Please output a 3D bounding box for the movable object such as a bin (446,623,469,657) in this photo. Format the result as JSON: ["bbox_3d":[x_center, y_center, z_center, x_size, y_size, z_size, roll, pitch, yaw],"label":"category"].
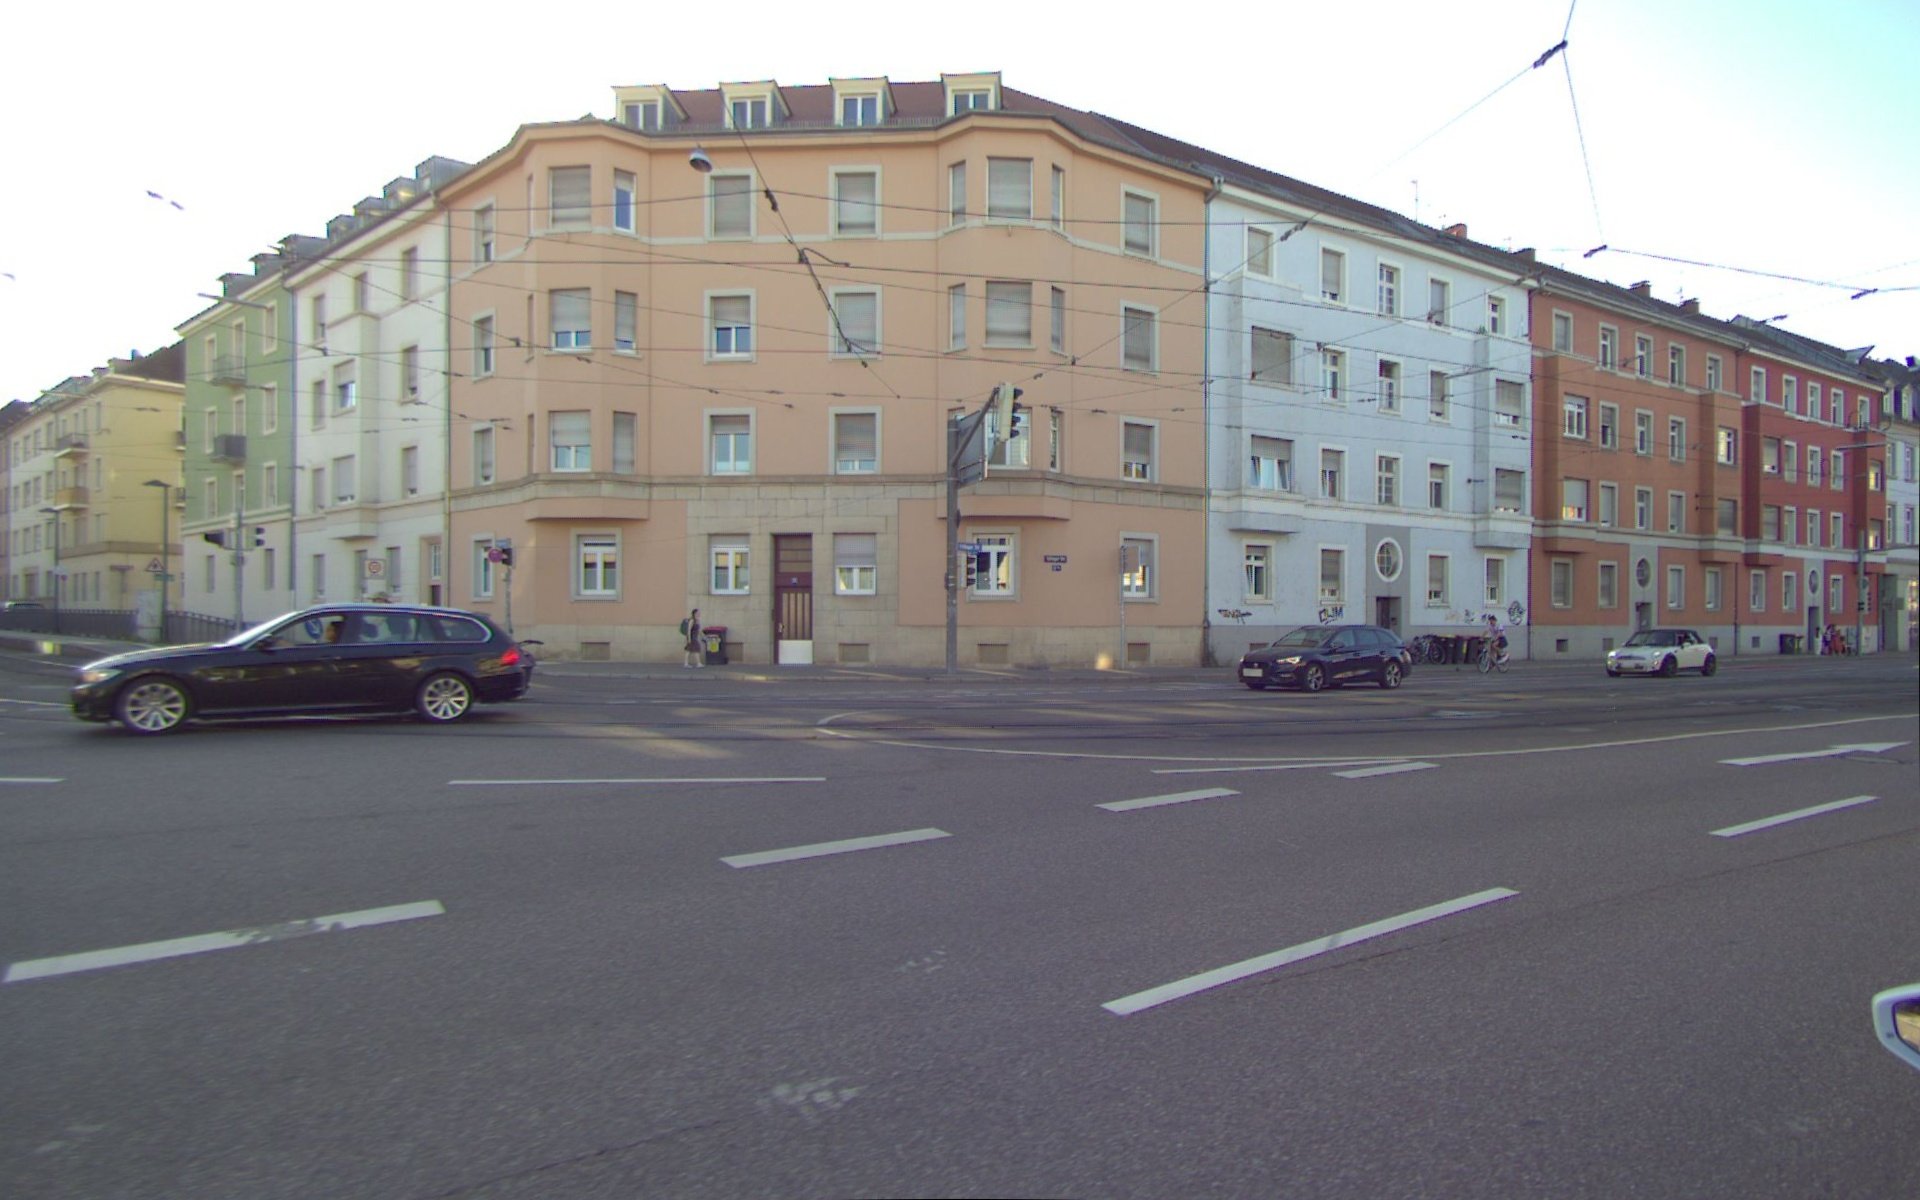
[{"bbox_3d":[-15.590,1.229,31.149,0.443,1.046,0.480,0,-1,38],"label":"movable object such as a bin"}]

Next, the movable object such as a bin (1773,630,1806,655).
[{"bbox_3d":[42.902,2.203,51.959,1.216,1.266,0.868,1,-1,-24],"label":"movable object such as a bin"}]

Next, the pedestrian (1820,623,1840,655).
[{"bbox_3d":[46.473,2.071,53.681,0.642,1.655,0.794,0,-1,27],"label":"pedestrian"}]

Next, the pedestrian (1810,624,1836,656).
[{"bbox_3d":[45.545,2.086,53.019,0.815,1.655,0.795,0,-1,22],"label":"pedestrian"}]

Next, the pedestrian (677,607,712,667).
[{"bbox_3d":[-7.152,0.991,27.048,0.706,1.584,0.677,0,-1,4],"label":"pedestrian"}]

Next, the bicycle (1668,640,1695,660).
[{"bbox_3d":[33.383,2.288,46.469,1.583,0.902,0.333,1,-1,-27],"label":"bicycle"}]

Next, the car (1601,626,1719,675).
[{"bbox_3d":[21.195,1.492,30.388,3.495,1.393,1.717,1,-1,-32],"label":"car"}]

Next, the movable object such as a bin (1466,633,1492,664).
[{"bbox_3d":[19.671,1.829,38.065,0.576,1.121,0.699,1,0,-30],"label":"movable object such as a bin"}]

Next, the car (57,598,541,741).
[{"bbox_3d":[-7.645,0.732,12.061,4.517,1.411,1.980,1,-1,-36],"label":"car"}]

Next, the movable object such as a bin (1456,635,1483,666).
[{"bbox_3d":[19.103,1.874,37.691,0.576,1.121,0.699,1,0,-30],"label":"movable object such as a bin"}]

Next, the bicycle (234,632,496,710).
[{"bbox_3d":[-8.837,1.026,15.159,3.309,1.070,0.931,1,-1,-26],"label":"bicycle"}]

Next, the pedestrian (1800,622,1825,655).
[{"bbox_3d":[44.564,2.005,52.502,0.643,1.655,0.793,1,0,-12],"label":"pedestrian"}]

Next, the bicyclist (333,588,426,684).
[{"bbox_3d":[-8.759,0.530,15.202,1.132,1.400,0.931,1,0,-26],"label":"bicyclist"}]

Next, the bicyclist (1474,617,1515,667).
[{"bbox_3d":[17.921,1.395,33.678,1.113,1.664,0.743,1,-1,-30],"label":"bicyclist"}]

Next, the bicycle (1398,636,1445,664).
[{"bbox_3d":[16.712,1.806,36.354,1.855,0.993,0.602,1,0,-31],"label":"bicycle"}]

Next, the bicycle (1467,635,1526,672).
[{"bbox_3d":[18.025,1.775,33.745,2.127,1.206,0.743,1,-1,-31],"label":"bicycle"}]

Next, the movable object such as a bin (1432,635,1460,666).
[{"bbox_3d":[17.921,1.849,37.064,0.641,1.121,0.699,1,0,-30],"label":"movable object such as a bin"}]

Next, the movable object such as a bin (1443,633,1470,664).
[{"bbox_3d":[18.491,1.809,37.417,0.576,1.121,0.699,1,0,-30],"label":"movable object such as a bin"}]

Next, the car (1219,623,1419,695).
[{"bbox_3d":[8.159,1.268,22.746,4.446,1.474,1.912,1,-1,-31],"label":"car"}]

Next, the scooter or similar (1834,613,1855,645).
[{"bbox_3d":[47.164,1.541,53.549,0.642,1.655,0.794,0,-1,27],"label":"scooter or similar"}]
